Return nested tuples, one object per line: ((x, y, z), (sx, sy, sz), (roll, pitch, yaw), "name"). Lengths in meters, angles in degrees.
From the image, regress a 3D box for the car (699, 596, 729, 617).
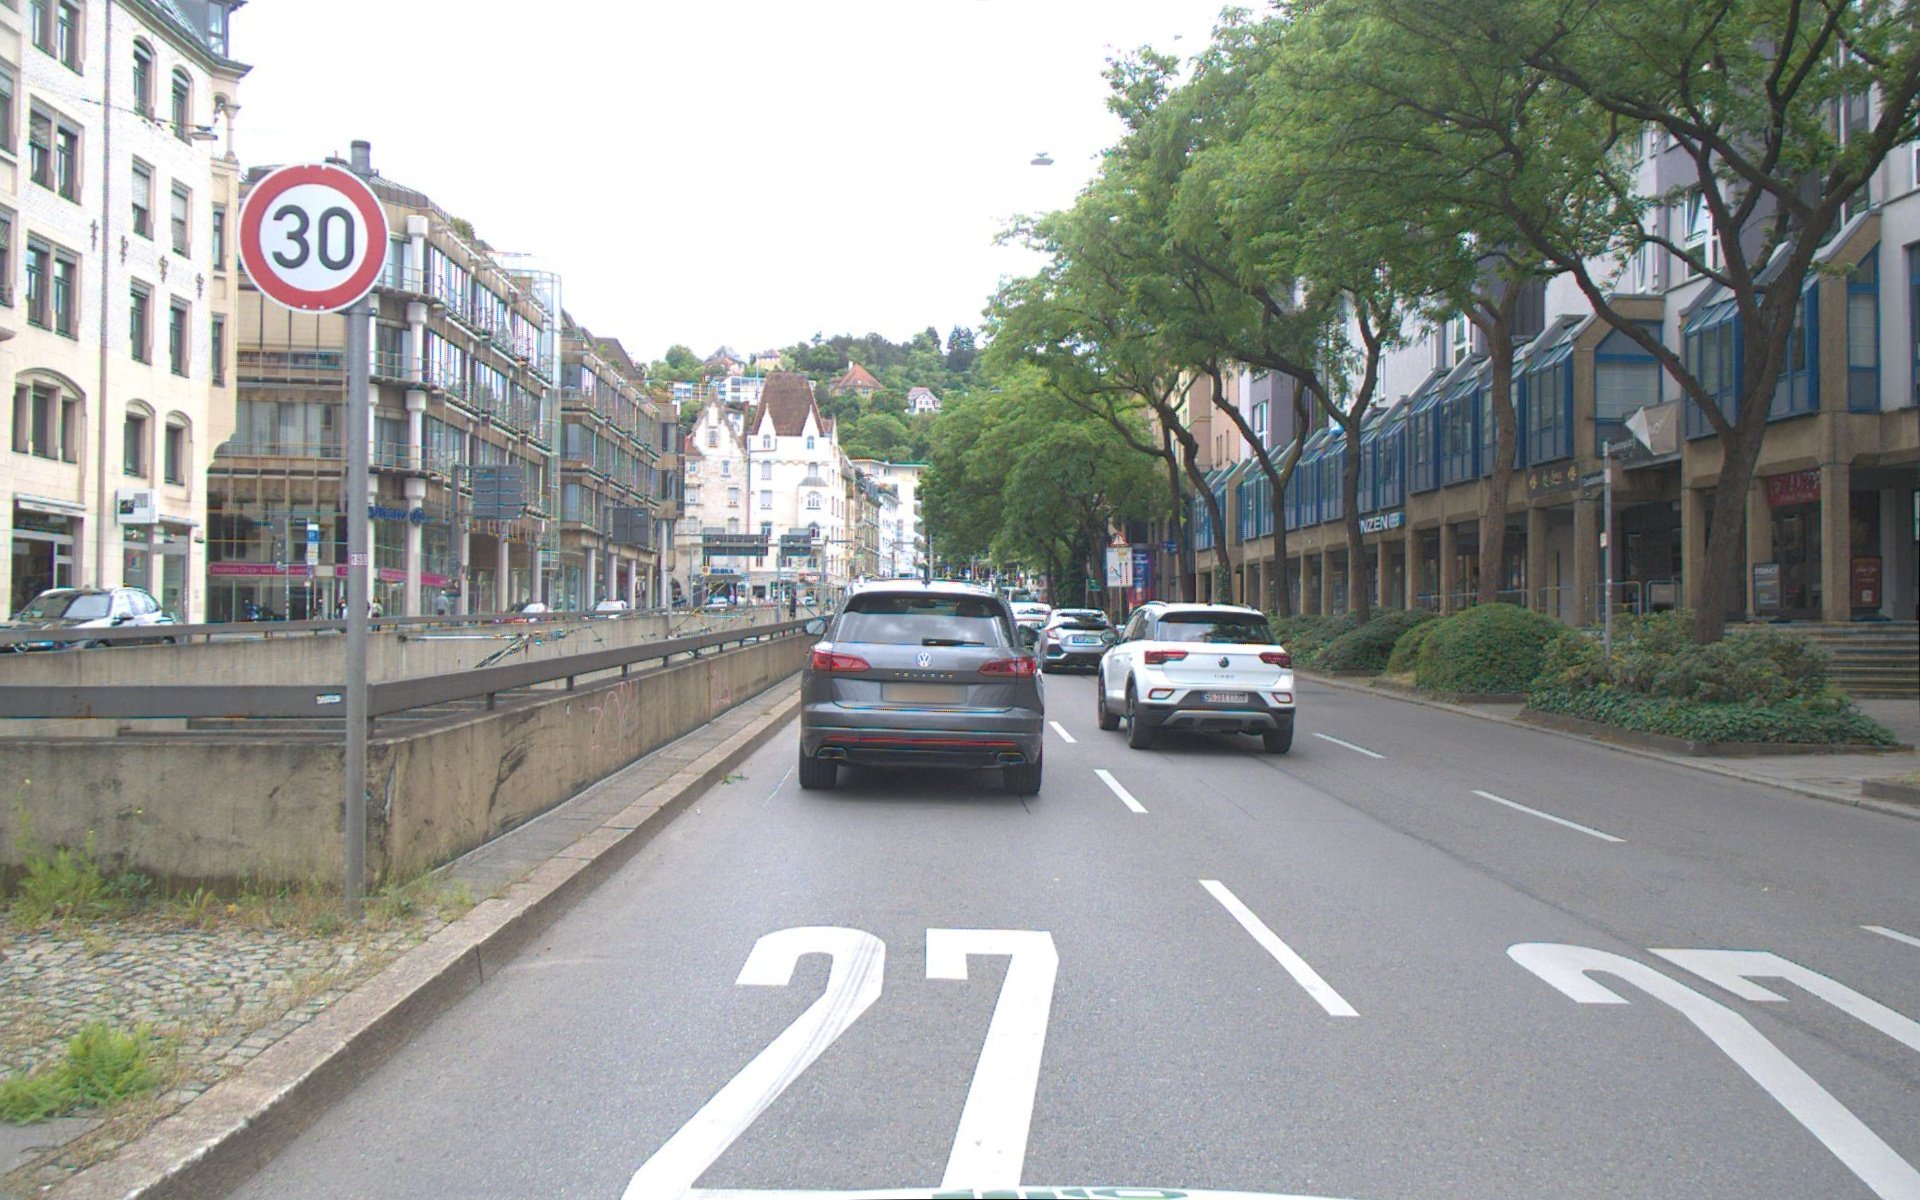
((-21.068, 0.551, 141.810), (1.953, 1.798, 4.279), (0, 0, -1), "car")

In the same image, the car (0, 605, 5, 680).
((-19.116, 0.819, 29.868), (1.751, 1.430, 3.581), (0, 0, -2), "car")

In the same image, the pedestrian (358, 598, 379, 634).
((-25.411, 0.682, 71.103), (0.687, 1.571, 0.845), (0, 0, -9), "pedestrian")

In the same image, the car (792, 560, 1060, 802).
((-0.340, 0.581, 14.183), (1.931, 1.725, 4.222), (-1, 0, -3), "car")

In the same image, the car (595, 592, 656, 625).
((-16.550, 0.405, 82.063), (1.952, 1.613, 4.888), (0, 0, 1), "car")

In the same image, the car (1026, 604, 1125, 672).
((2.600, 0.837, 38.111), (1.797, 1.457, 4.145), (1, 0, -3), "car")

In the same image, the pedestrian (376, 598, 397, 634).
((-24.709, 0.679, 71.247), (0.687, 1.571, 0.845), (0, 0, -9), "pedestrian")

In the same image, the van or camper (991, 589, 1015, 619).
((4.826, 0.444, 185.771), (2.573, 3.234, 5.803), (0, 0, 1), "van or camper")

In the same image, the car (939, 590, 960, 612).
((-0.918, 0.067, 145.165), (1.794, 1.907, 4.870), (-1, 0, 0), "car")

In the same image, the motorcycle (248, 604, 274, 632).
((-32.394, 0.835, 76.700), (0.778, 1.279, 1.932), (0, 0, -13), "motorcycle")

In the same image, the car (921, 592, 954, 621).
((-1.290, 0.366, 92.738), (1.795, 1.594, 3.766), (-1, 0, -1), "car")

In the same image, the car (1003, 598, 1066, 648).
((2.348, 0.713, 52.762), (1.795, 1.544, 3.766), (0, 0, -1), "car")

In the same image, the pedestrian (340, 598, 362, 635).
((-26.133, 0.691, 70.991), (0.687, 1.571, 0.845), (0, 0, -9), "pedestrian")

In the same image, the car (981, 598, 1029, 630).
((2.014, 0.628, 74.717), (1.796, 1.387, 3.764), (-1, 0, -4), "car")

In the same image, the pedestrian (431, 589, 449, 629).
((-24.504, 0.420, 77.885), (0.521, 1.824, 0.694), (3, -1, 0), "pedestrian")

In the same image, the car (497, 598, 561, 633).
((-19.494, 0.675, 75.040), (1.954, 1.490, 4.881), (0, 0, -4), "car")

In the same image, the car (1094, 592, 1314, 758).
((2.658, 0.762, 18.888), (1.761, 1.572, 3.934), (2, 1, -2), "car")

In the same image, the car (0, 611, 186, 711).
((-15.184, 0.994, 28.615), (1.881, 1.553, 4.535), (0, 0, -6), "car")

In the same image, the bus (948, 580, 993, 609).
((1.437, -0.706, 210.228), (3.768, 3.593, 17.258), (0, 0, 7), "bus")

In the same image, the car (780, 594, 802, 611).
((-17.833, 0.290, 174.663), (1.953, 1.798, 4.279), (0, 0, -1), "car")
